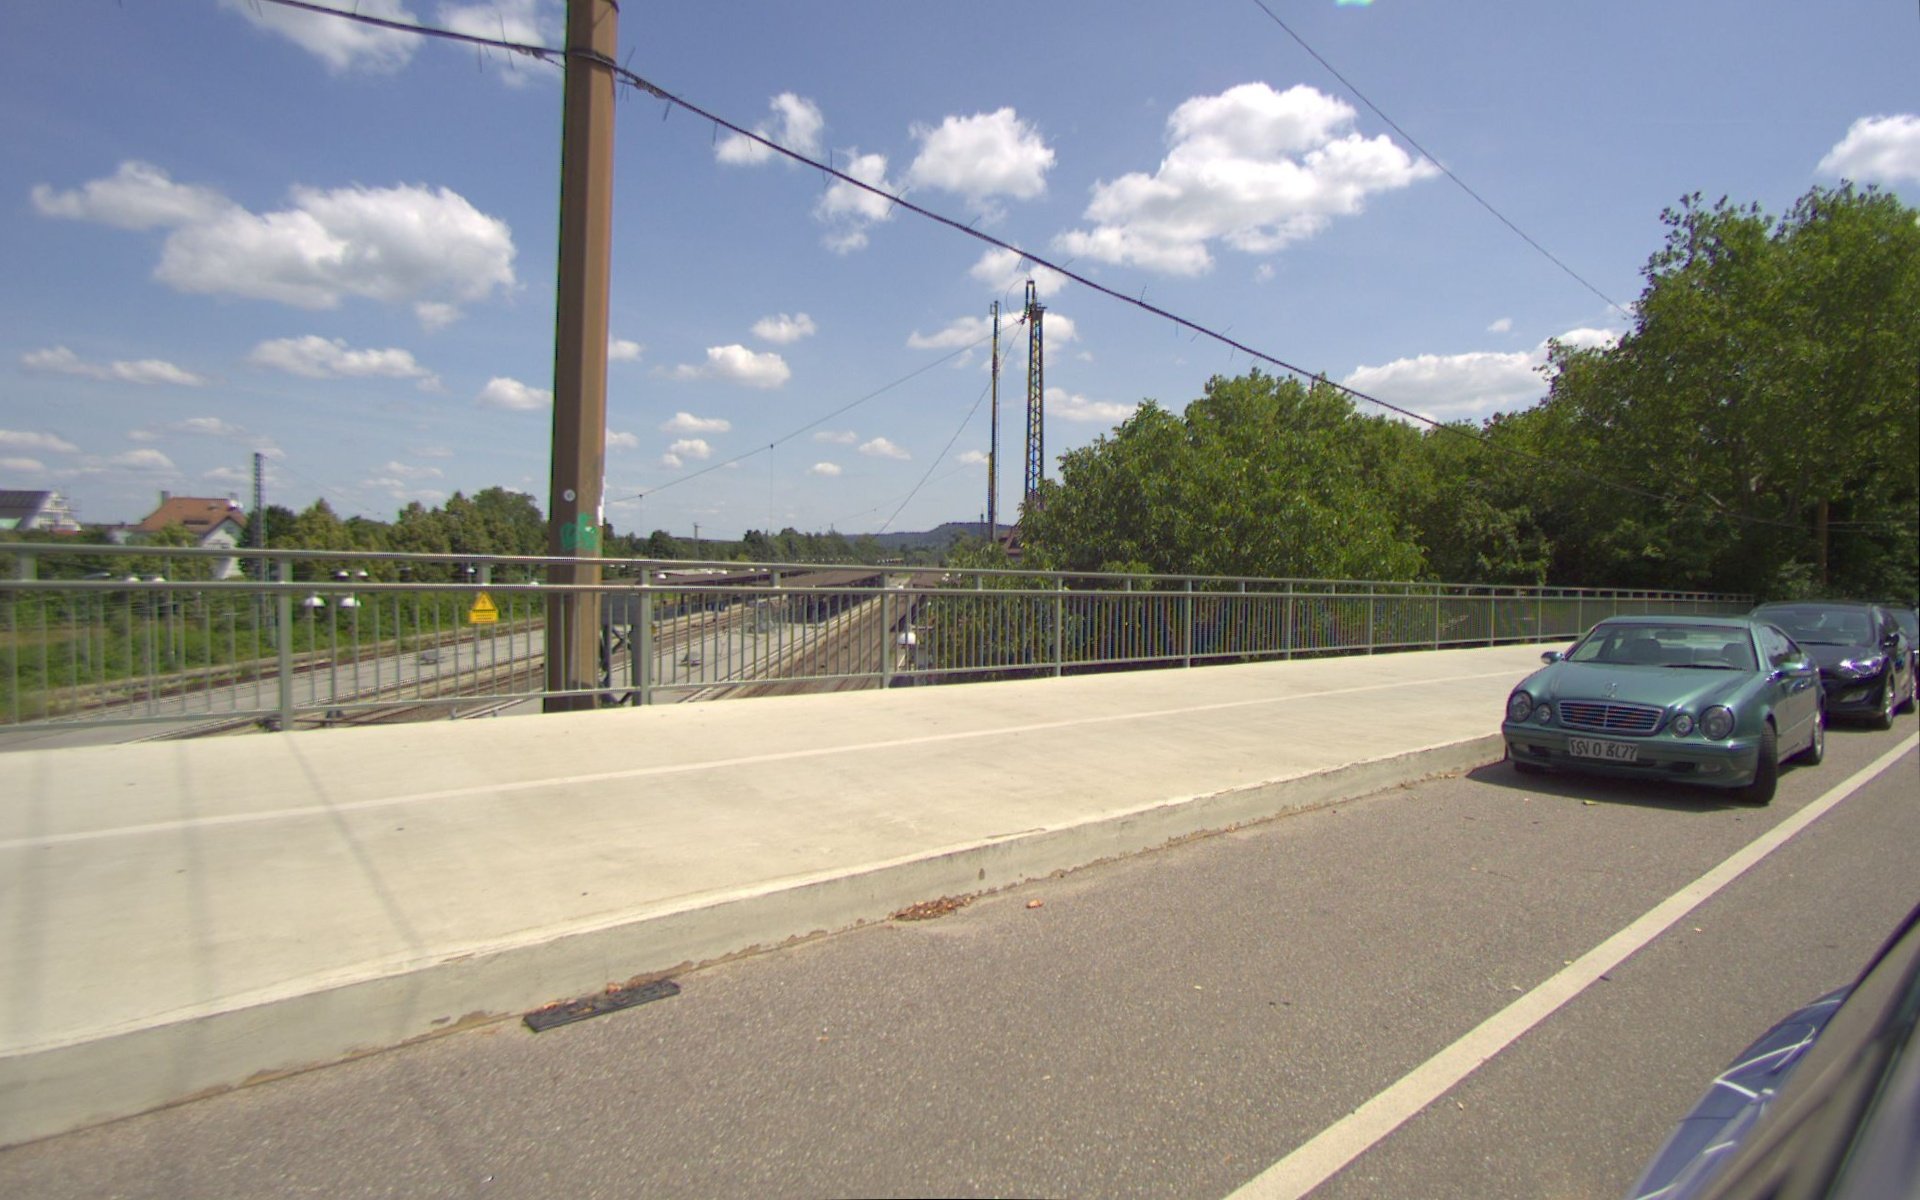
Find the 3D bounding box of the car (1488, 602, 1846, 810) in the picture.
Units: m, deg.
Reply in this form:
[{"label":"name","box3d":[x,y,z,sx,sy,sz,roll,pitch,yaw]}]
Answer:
[{"label":"car","box3d":[6.391,0.709,8.912,4.515,1.376,1.686,0,0,-43]}]

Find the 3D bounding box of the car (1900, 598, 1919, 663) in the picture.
[{"label":"car","box3d":[22.807,0.686,22.971,3.634,1.407,1.758,0,2,-41]}]

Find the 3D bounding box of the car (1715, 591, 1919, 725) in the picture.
[{"label":"car","box3d":[11.396,0.630,13.210,4.312,1.472,1.638,0,0,-42]}]

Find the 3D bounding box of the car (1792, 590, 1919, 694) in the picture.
[{"label":"car","box3d":[15.754,0.640,17.138,4.085,1.578,1.828,0,-1,-40]}]
